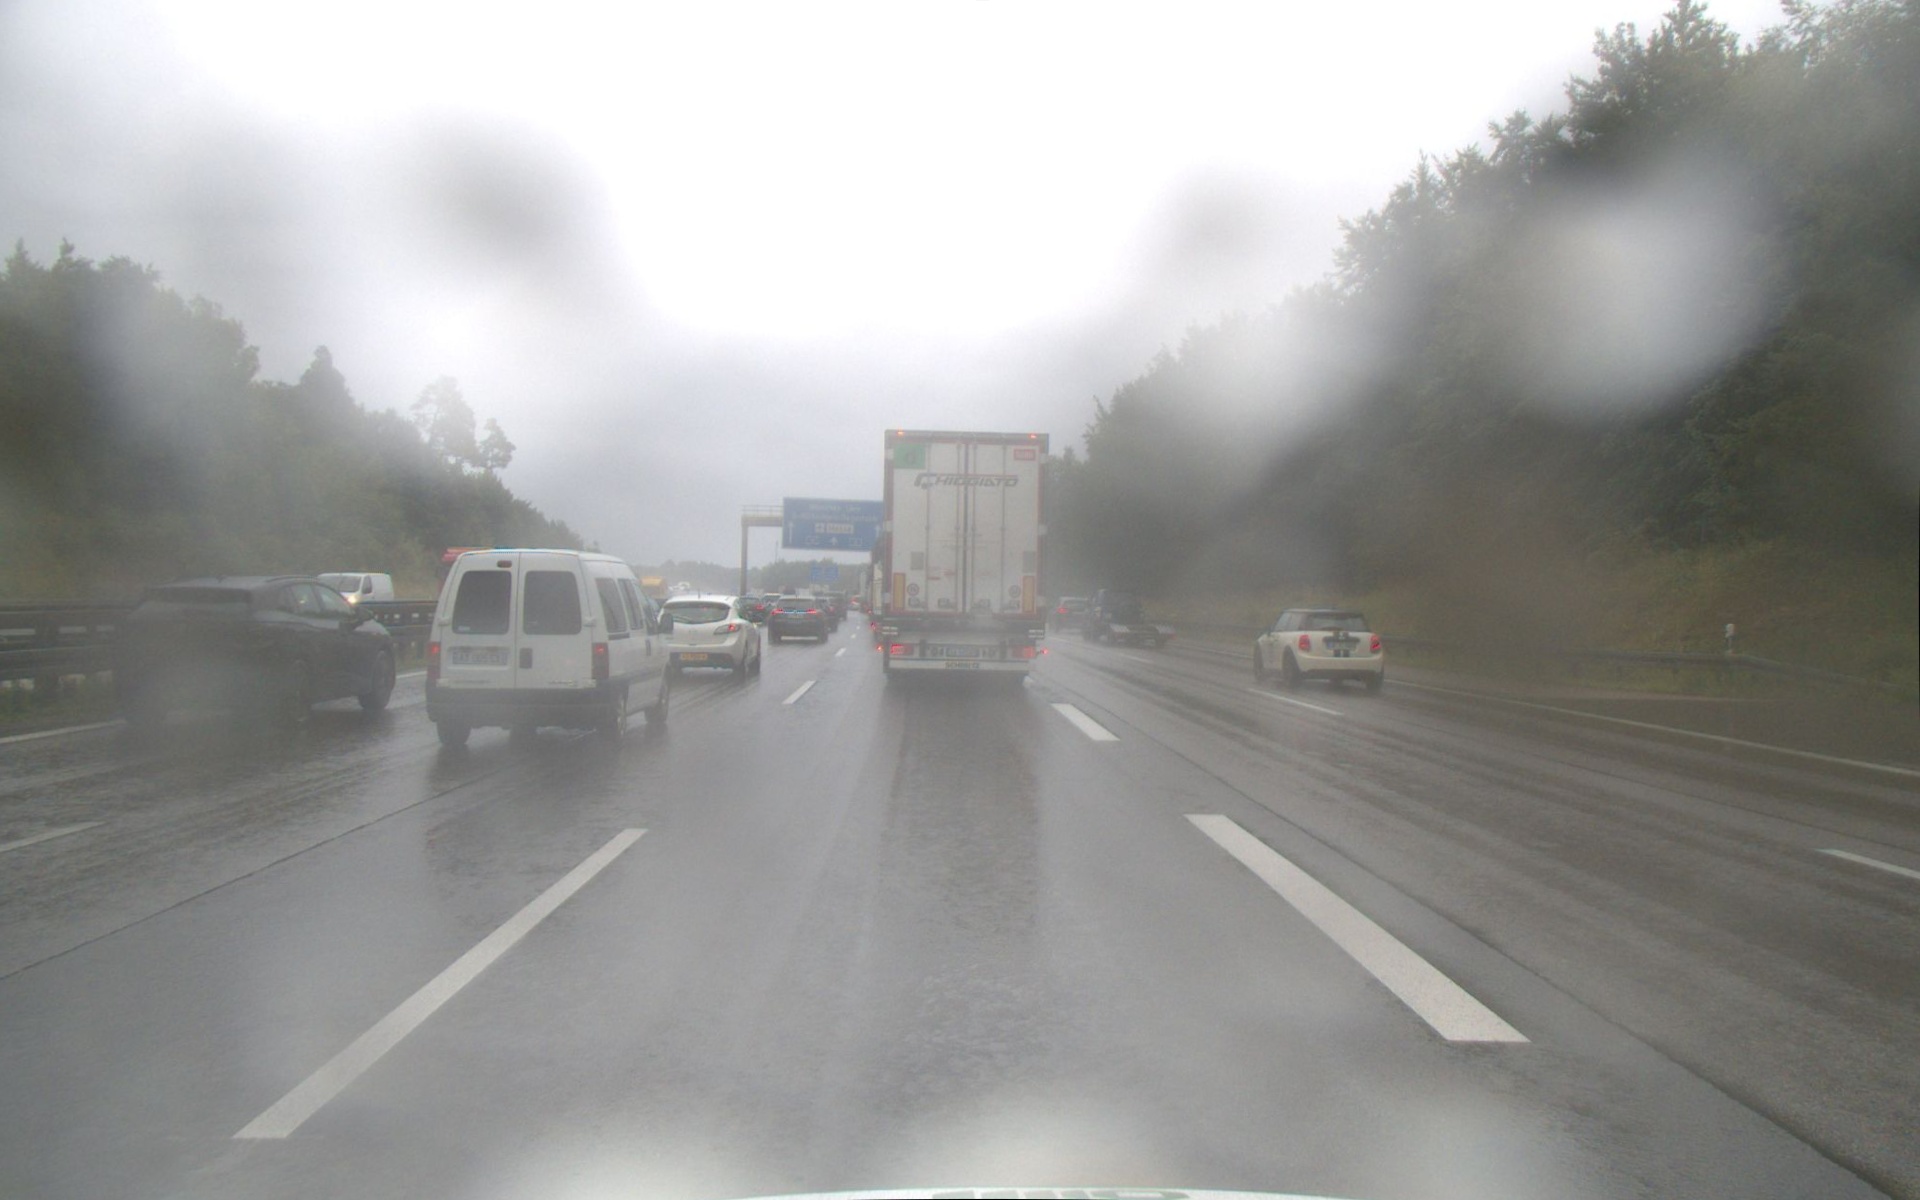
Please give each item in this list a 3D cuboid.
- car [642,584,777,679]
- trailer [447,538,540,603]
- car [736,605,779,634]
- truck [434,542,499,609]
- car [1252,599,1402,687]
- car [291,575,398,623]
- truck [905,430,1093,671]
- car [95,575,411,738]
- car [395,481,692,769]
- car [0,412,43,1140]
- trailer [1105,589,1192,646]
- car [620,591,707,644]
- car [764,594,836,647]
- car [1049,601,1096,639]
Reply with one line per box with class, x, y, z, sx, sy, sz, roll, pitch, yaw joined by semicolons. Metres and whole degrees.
car;-4.564;0.529;30.654;1.807;1.619;4.072;1;0;1
trailer;-30.766;-1.831;109.671;2.665;4.023;13.954;-1;0;-2
car;-10.311;0.975;84.398;1.809;1.354;4.464;1;0;-3
truck;-30.563;-1.469;102.569;2.649;4.023;4.889;-1;0;-2
car;6.635;0.733;30.333;1.754;1.431;4.227;1;0;0
car;-20.335;-0.055;54.824;1.954;1.533;4.705;0;1;-3
truck;0.577;-0.735;30.921;2.813;3.624;11.301;1;0;0
car;-7.907;0.555;19.005;1.808;1.619;4.465;1;0;-2
car;-4.229;0.213;17.720;2.169;2.618;5.012;1;0;-4
car;-3.728;0.473;2.088;2.222;1.945;5.016;1;0;1
trailer;6.218;0.545;55.037;2.198;1.744;5.081;1;0;-1
car;-8.238;0.461;46.315;1.809;1.354;4.464;1;0;-3
car;-5.110;0.627;53.424;1.807;1.619;4.467;1;0;1
car;5.129;0.898;75.897;1.948;1.611;4.768;1;0;2
